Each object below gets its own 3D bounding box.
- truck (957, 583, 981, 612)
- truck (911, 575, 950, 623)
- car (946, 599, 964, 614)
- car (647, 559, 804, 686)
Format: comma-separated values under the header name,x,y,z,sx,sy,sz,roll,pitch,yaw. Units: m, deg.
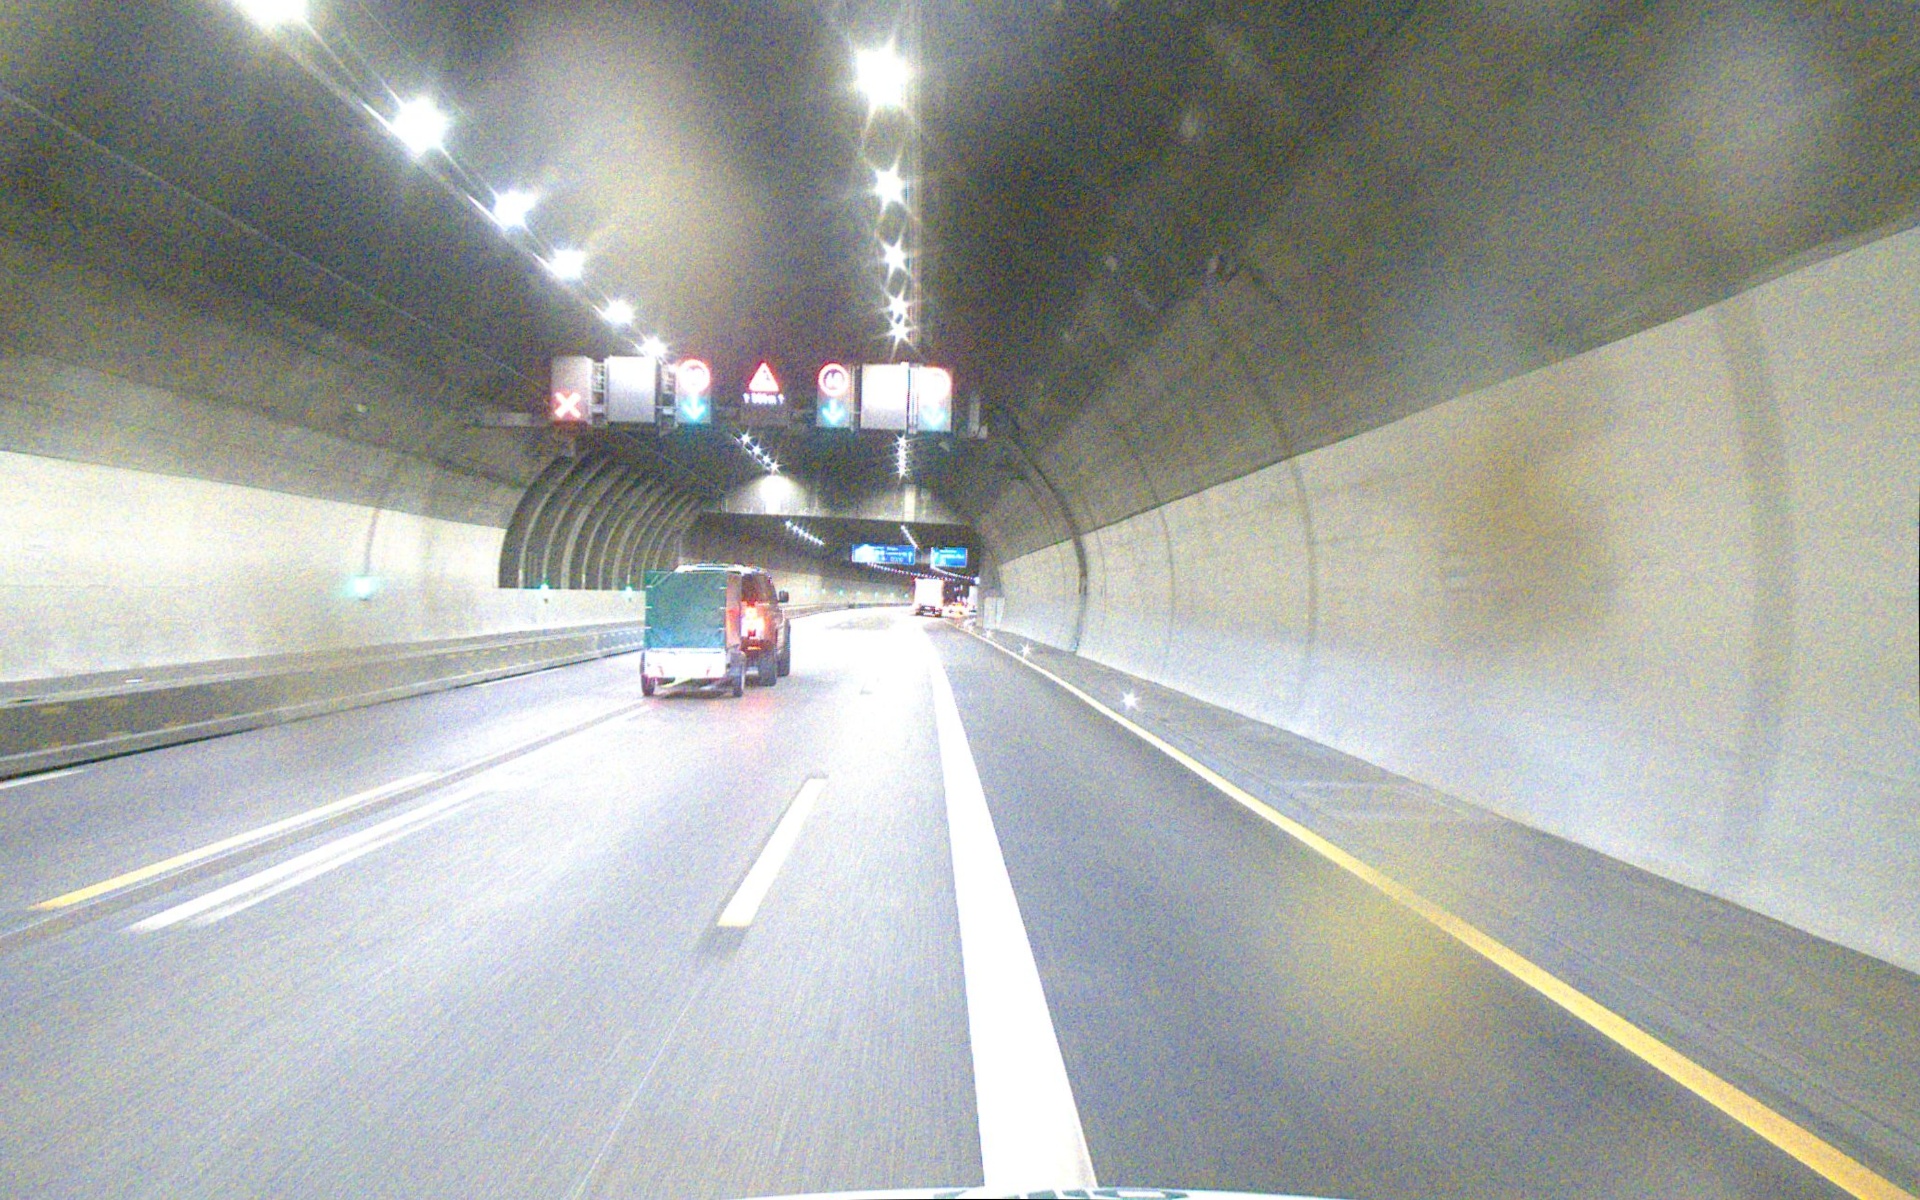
name,x,y,z,sx,sy,sz,roll,pitch,yaw
truck,1.413,-0.455,261.213,3.404,4.391,10.948,1,0,-2
truck,-2.959,-0.132,162.023,3.404,4.391,10.947,2,0,-2
car,-0.676,0.864,222.576,1.952,1.928,5.534,2,0,3
car,-3.931,0.341,28.681,1.953,1.928,5.452,2,0,-1
